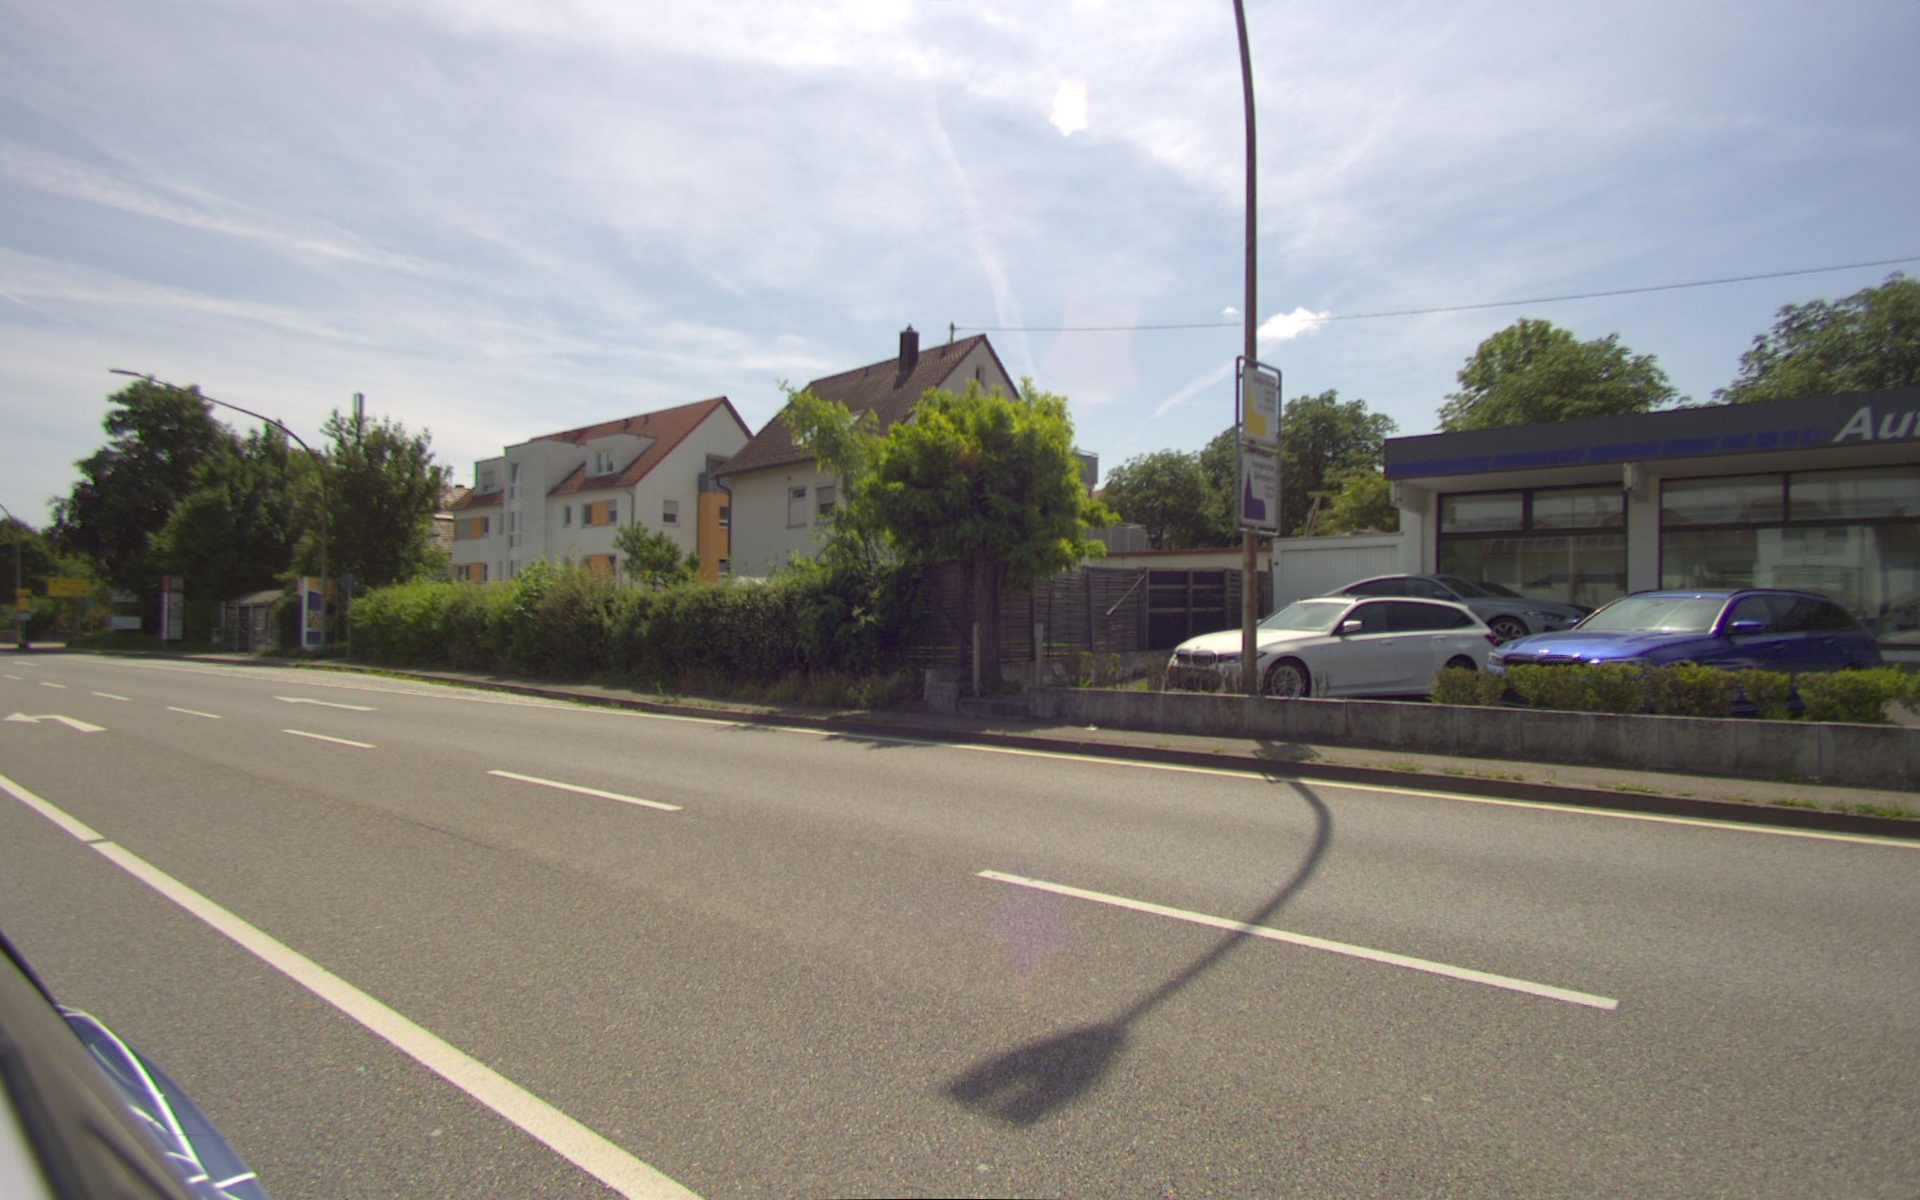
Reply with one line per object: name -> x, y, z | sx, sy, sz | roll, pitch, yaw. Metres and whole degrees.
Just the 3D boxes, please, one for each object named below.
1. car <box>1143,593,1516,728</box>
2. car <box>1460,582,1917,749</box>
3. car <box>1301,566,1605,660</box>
car -> 4.885, 0.691, 13.416 | 4.501, 1.458, 1.863 | -2, 1, -21
car -> 7.682, 0.567, 10.705 | 4.267, 1.458, 1.863 | -1, 1, -21
car -> 8.703, 0.223, 18.236 | 1.781, 1.475, 4.589 | -1, 0, -40
